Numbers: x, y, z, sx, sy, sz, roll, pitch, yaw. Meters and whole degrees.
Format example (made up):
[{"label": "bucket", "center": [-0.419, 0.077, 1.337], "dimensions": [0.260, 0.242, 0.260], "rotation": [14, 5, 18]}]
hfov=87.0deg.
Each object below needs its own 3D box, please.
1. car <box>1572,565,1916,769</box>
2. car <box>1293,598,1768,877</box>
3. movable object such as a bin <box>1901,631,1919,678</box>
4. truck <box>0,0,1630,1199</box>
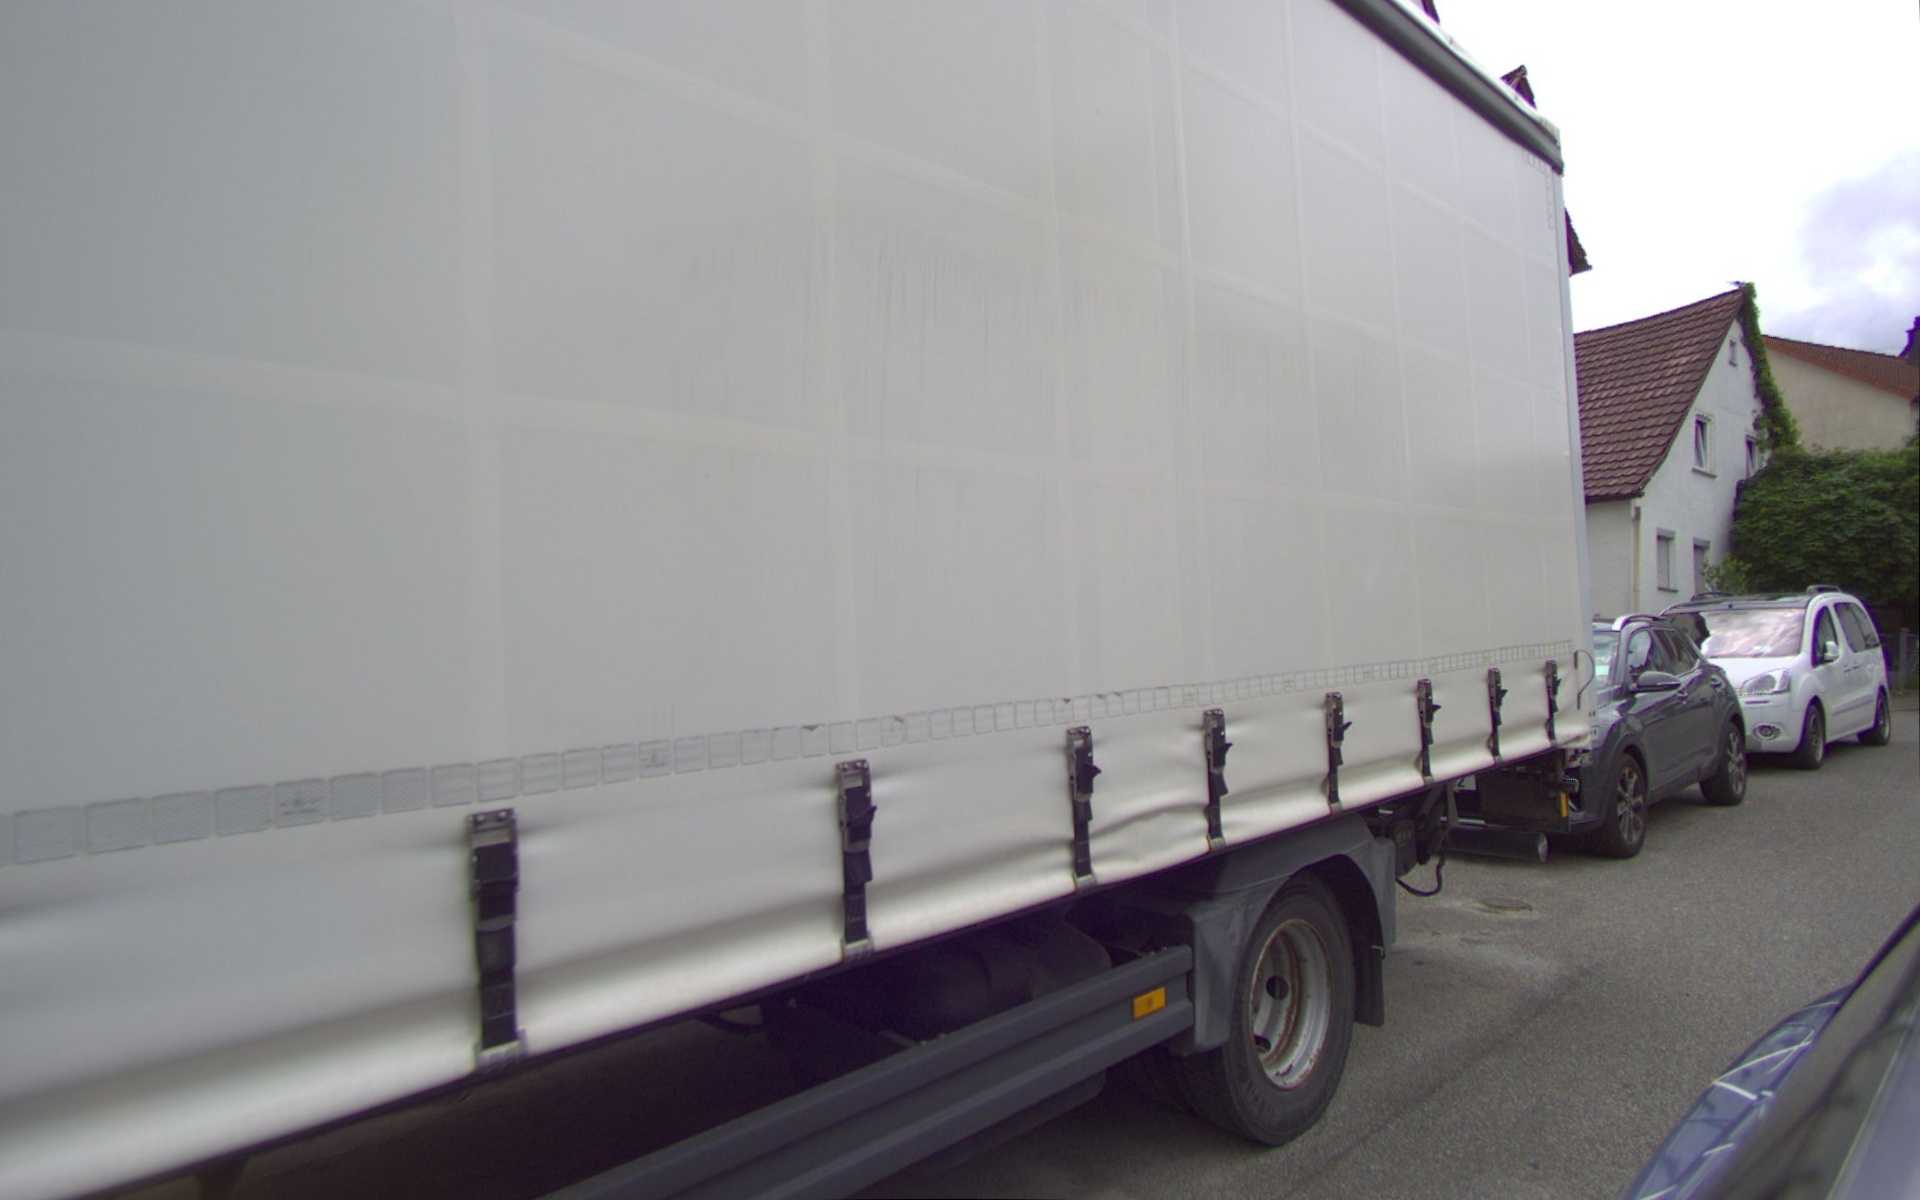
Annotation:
[{"label": "car", "center": [8.741, 0.668, 11.178], "dimensions": [4.223, 1.838, 1.839], "rotation": [0, -4, -37]}, {"label": "car", "center": [4.412, 0.812, 7.587], "dimensions": [3.979, 1.526, 1.735], "rotation": [0, -3, -40]}, {"label": "movable object such as a bin", "center": [20.054, 1.133, 21.166], "dimensions": [0.366, 0.962, 0.373], "rotation": [0, -2, -16]}, {"label": "truck", "center": [-1.077, -0.249, 2.711], "dimensions": [7.964, 3.644, 2.679], "rotation": [1, -3, -41]}]
